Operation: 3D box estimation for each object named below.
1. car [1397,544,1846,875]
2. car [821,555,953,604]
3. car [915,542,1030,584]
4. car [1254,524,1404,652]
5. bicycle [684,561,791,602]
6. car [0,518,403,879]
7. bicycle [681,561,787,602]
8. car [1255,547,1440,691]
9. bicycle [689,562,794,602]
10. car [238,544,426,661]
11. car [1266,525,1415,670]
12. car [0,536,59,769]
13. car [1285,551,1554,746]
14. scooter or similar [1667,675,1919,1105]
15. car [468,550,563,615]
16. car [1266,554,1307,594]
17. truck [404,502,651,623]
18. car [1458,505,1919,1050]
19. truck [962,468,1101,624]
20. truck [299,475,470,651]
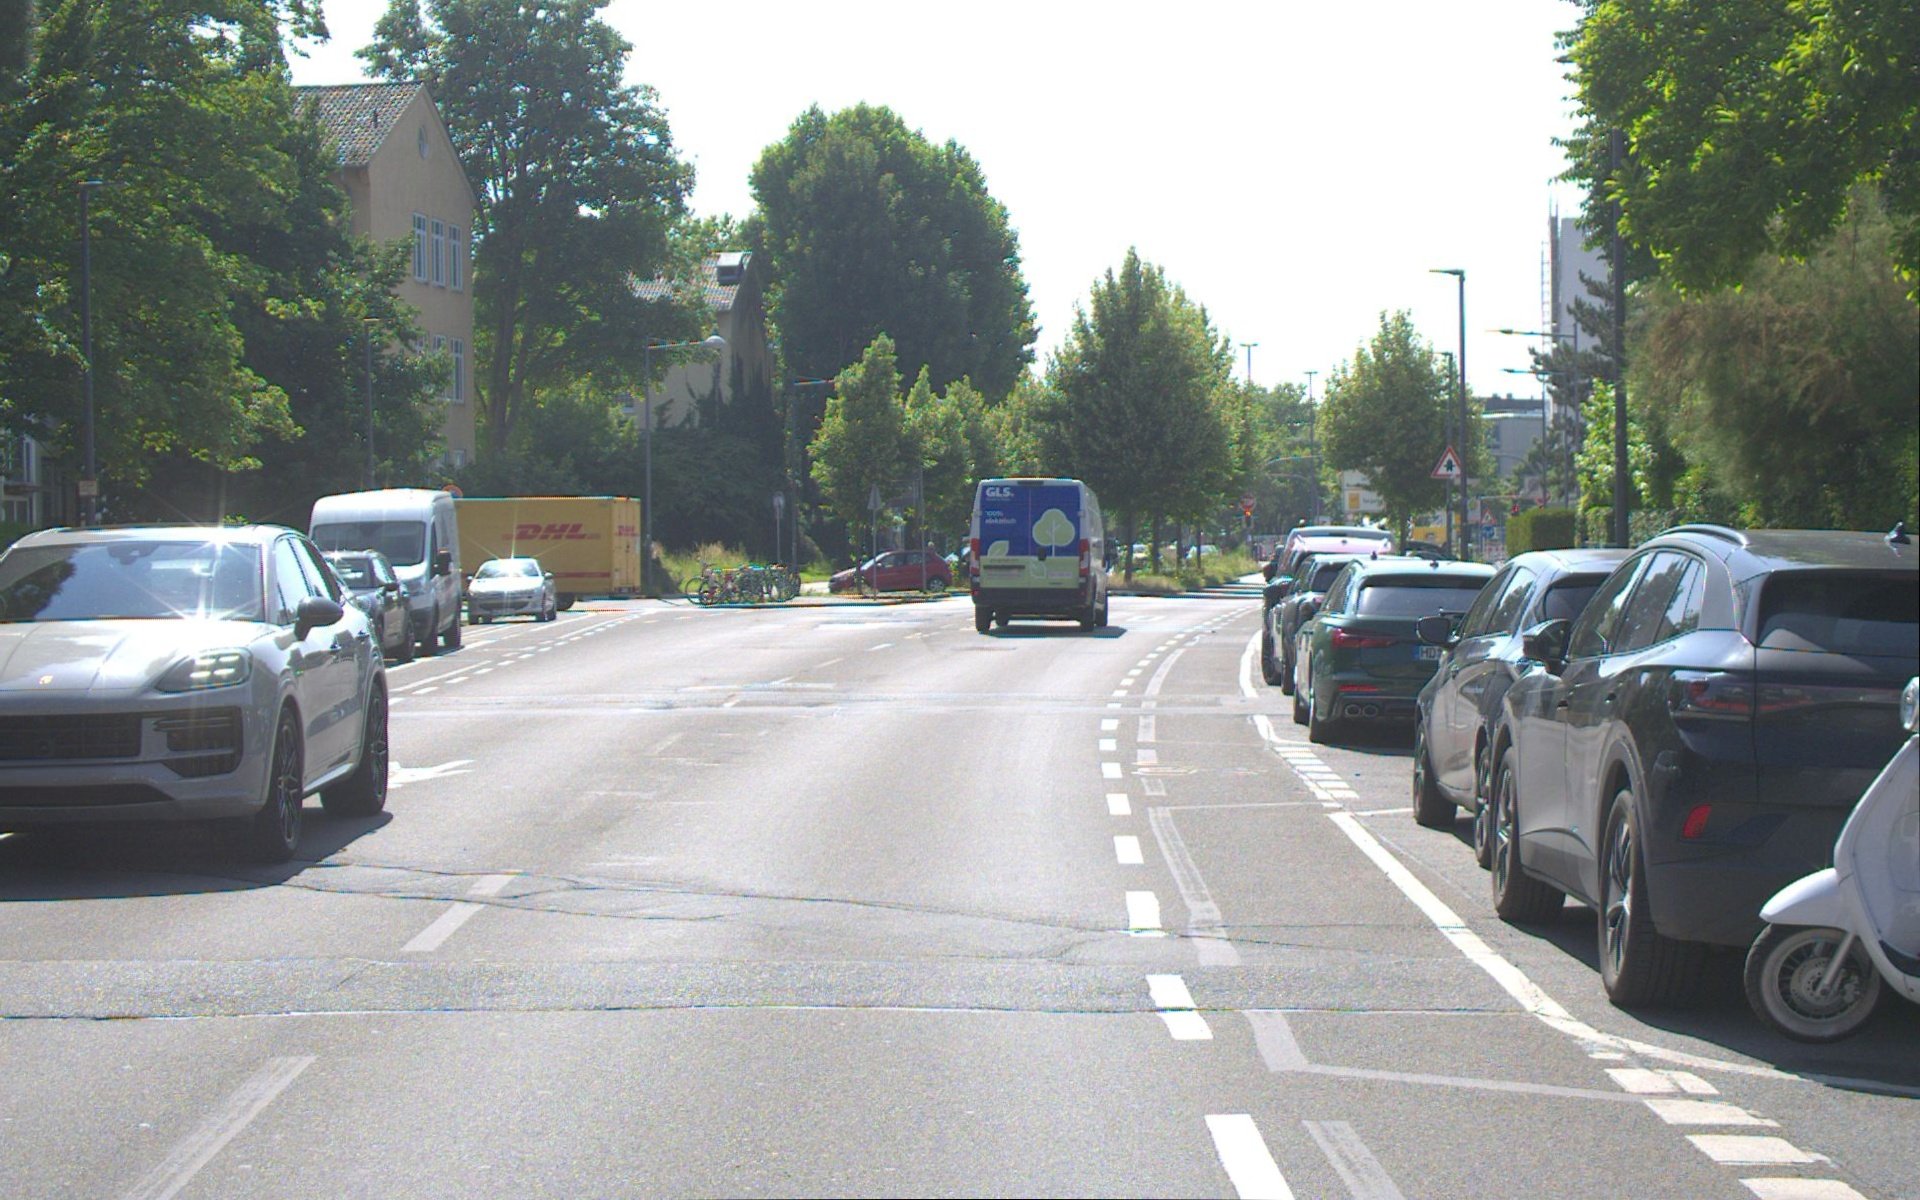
[{"bbox_3d":[3.366,0.483,18.166,1.709,1.509,3.902,2,1,2],"label":"car"},{"bbox_3d":[-2.350,-0.661,109.748,3.986,1.485,1.629,-1,1,-10],"label":"car"},{"bbox_3d":[0.454,-1.351,126.445,3.986,1.485,1.629,-1,1,-10],"label":"car"},{"bbox_3d":[5.017,-0.189,47.097,1.700,1.671,3.775,-1,1,1],"label":"car"},{"bbox_3d":[-5.791,-0.473,89.519,2.664,1.023,1.026,-1,0,-10],"label":"bicycle"},{"bbox_3d":[-4.280,0.419,18.132,1.993,1.652,4.605,-1,1,-1],"label":"car"},{"bbox_3d":[-5.962,-0.486,90.645,2.687,1.044,1.026,-1,0,-10],"label":"bicycle"},{"bbox_3d":[4.053,0.156,36.445,1.785,1.394,4.122,1,1,4],"label":"car"},{"bbox_3d":[-5.833,-0.486,91.786,2.687,1.044,1.026,-1,0,-10],"label":"bicycle"},{"bbox_3d":[-8.468,0.002,46.629,1.754,1.491,3.654,-1,1,2],"label":"car"},{"bbox_3d":[4.594,-0.063,41.762,1.701,1.671,3.774,-1,1,6],"label":"car"},{"bbox_3d":[-7.843,0.406,24.548,1.908,1.671,4.259,-2,1,-4],"label":"car"},{"bbox_3d":[3.624,0.330,27.771,1.785,1.394,4.324,1,1,3],"label":"car"},{"bbox_3d":[3.014,0.847,9.783,1.796,1.150,0.718,4,1,43],"label":"scooter or similar"},{"bbox_3d":[-9.582,-0.397,74.275,1.754,1.339,3.654,-1,1,-3],"label":"car"},{"bbox_3d":[16.760,-1.358,176.458,1.908,2.007,4.000,-1,1,3],"label":"car"},{"bbox_3d":[-10.831,-0.933,86.210,5.670,2.936,2.220,-1,0,13],"label":"truck"},{"bbox_3d":[3.015,0.511,12.640,1.785,1.632,4.470,1,1,1],"label":"car"},{"bbox_3d":[1.289,-0.925,59.578,2.272,2.562,4.392,-1,1,3],"label":"truck"},{"bbox_3d":[-8.748,-0.587,52.655,2.080,2.528,5.468,-1,1,-5],"label":"truck"}]
